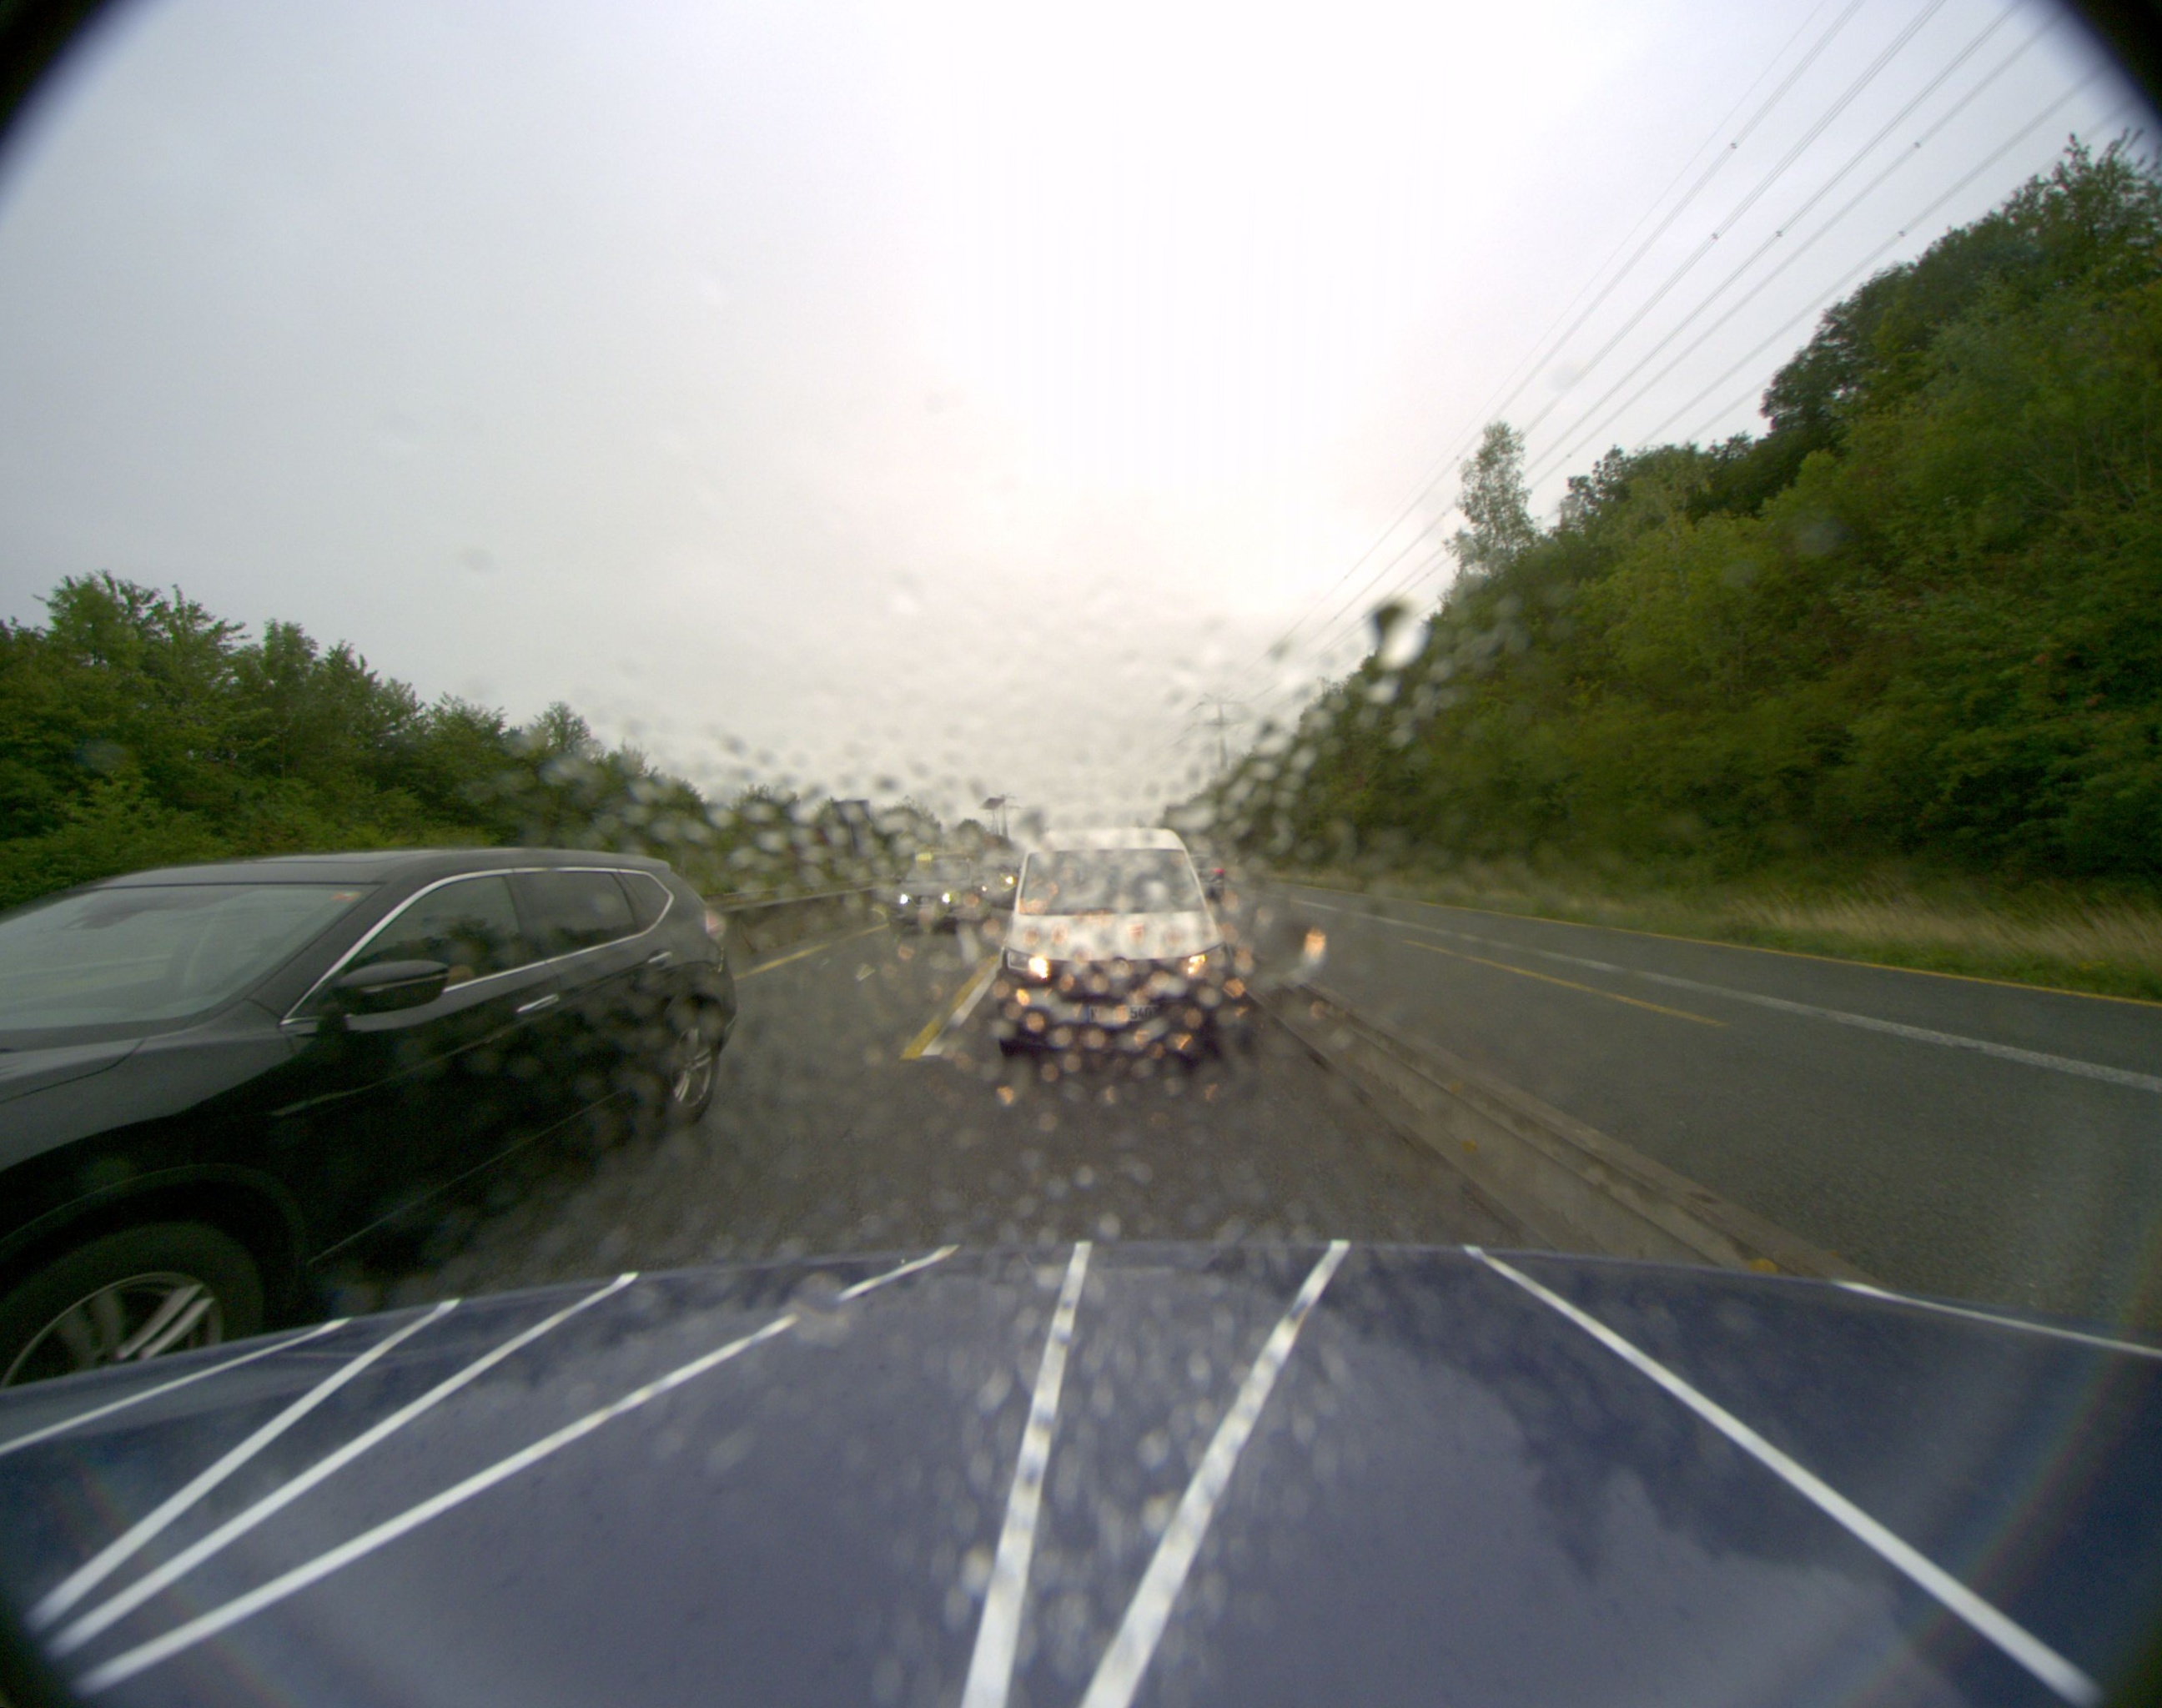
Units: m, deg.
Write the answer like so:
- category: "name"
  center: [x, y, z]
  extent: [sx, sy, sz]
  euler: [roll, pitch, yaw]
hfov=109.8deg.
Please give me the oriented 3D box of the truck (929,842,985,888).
- category: "truck"
  center: [-9.919, 0.754, 61.903]
  extent: [2.619, 3.404, 9.575]
  euler: [-2, 1, 2]

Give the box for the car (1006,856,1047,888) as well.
- category: "car"
  center: [-2.726, 0.875, 38.906]
  extent: [1.784, 1.482, 4.123]
  euler: [-2, 1, 0]

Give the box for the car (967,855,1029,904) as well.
- category: "car"
  center: [-2.979, 0.873, 27.967]
  extent: [1.784, 1.589, 4.123]
  euler: [-2, 1, 0]

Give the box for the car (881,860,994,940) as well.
- category: "car"
  center: [-3.126, 0.954, 17.411]
  extent: [1.784, 1.482, 4.123]
  euler: [-2, 1, 0]

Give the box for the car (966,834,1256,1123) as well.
- category: "car"
  center: [0.179, 0.765, 7.162]
  extent: [1.784, 1.775, 4.697]
  euler: [-2, 1, 0]

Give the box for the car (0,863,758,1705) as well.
- category: "car"
  center: [-3.228, 0.949, 2.990]
  extent: [1.894, 1.665, 4.640]
  euler: [-2, 1, 0]

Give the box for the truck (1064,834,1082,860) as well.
- category: "truck"
  center: [-1.285, -1.122, 123.053]
  extent: [2.619, 3.869, 9.574]
  euler: [-2, 1, 0]

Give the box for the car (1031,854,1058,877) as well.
- category: "car"
  center: [-2.616, 0.827, 55.636]
  extent: [1.784, 1.482, 4.123]
  euler: [-2, 1, 0]

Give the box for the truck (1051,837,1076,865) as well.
- category: "truck"
  center: [-2.193, -0.433, 97.407]
  extent: [2.619, 3.404, 9.575]
  euler: [-2, 1, 1]

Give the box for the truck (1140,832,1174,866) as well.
- category: "truck"
  center: [8.069, -0.554, 82.189]
  extent: [2.541, 3.333, 12.048]
  euler: [-2, 1, 1]

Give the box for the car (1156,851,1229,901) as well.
- category: "car"
  center: [3.703, 0.667, 25.958]
  extent: [1.815, 1.479, 4.395]
  euler: [-2, 1, 0]

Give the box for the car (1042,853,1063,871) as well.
- category: "car"
  center: [-2.645, 0.736, 71.423]
  extent: [1.784, 1.482, 4.123]
  euler: [-2, 1, 0]
